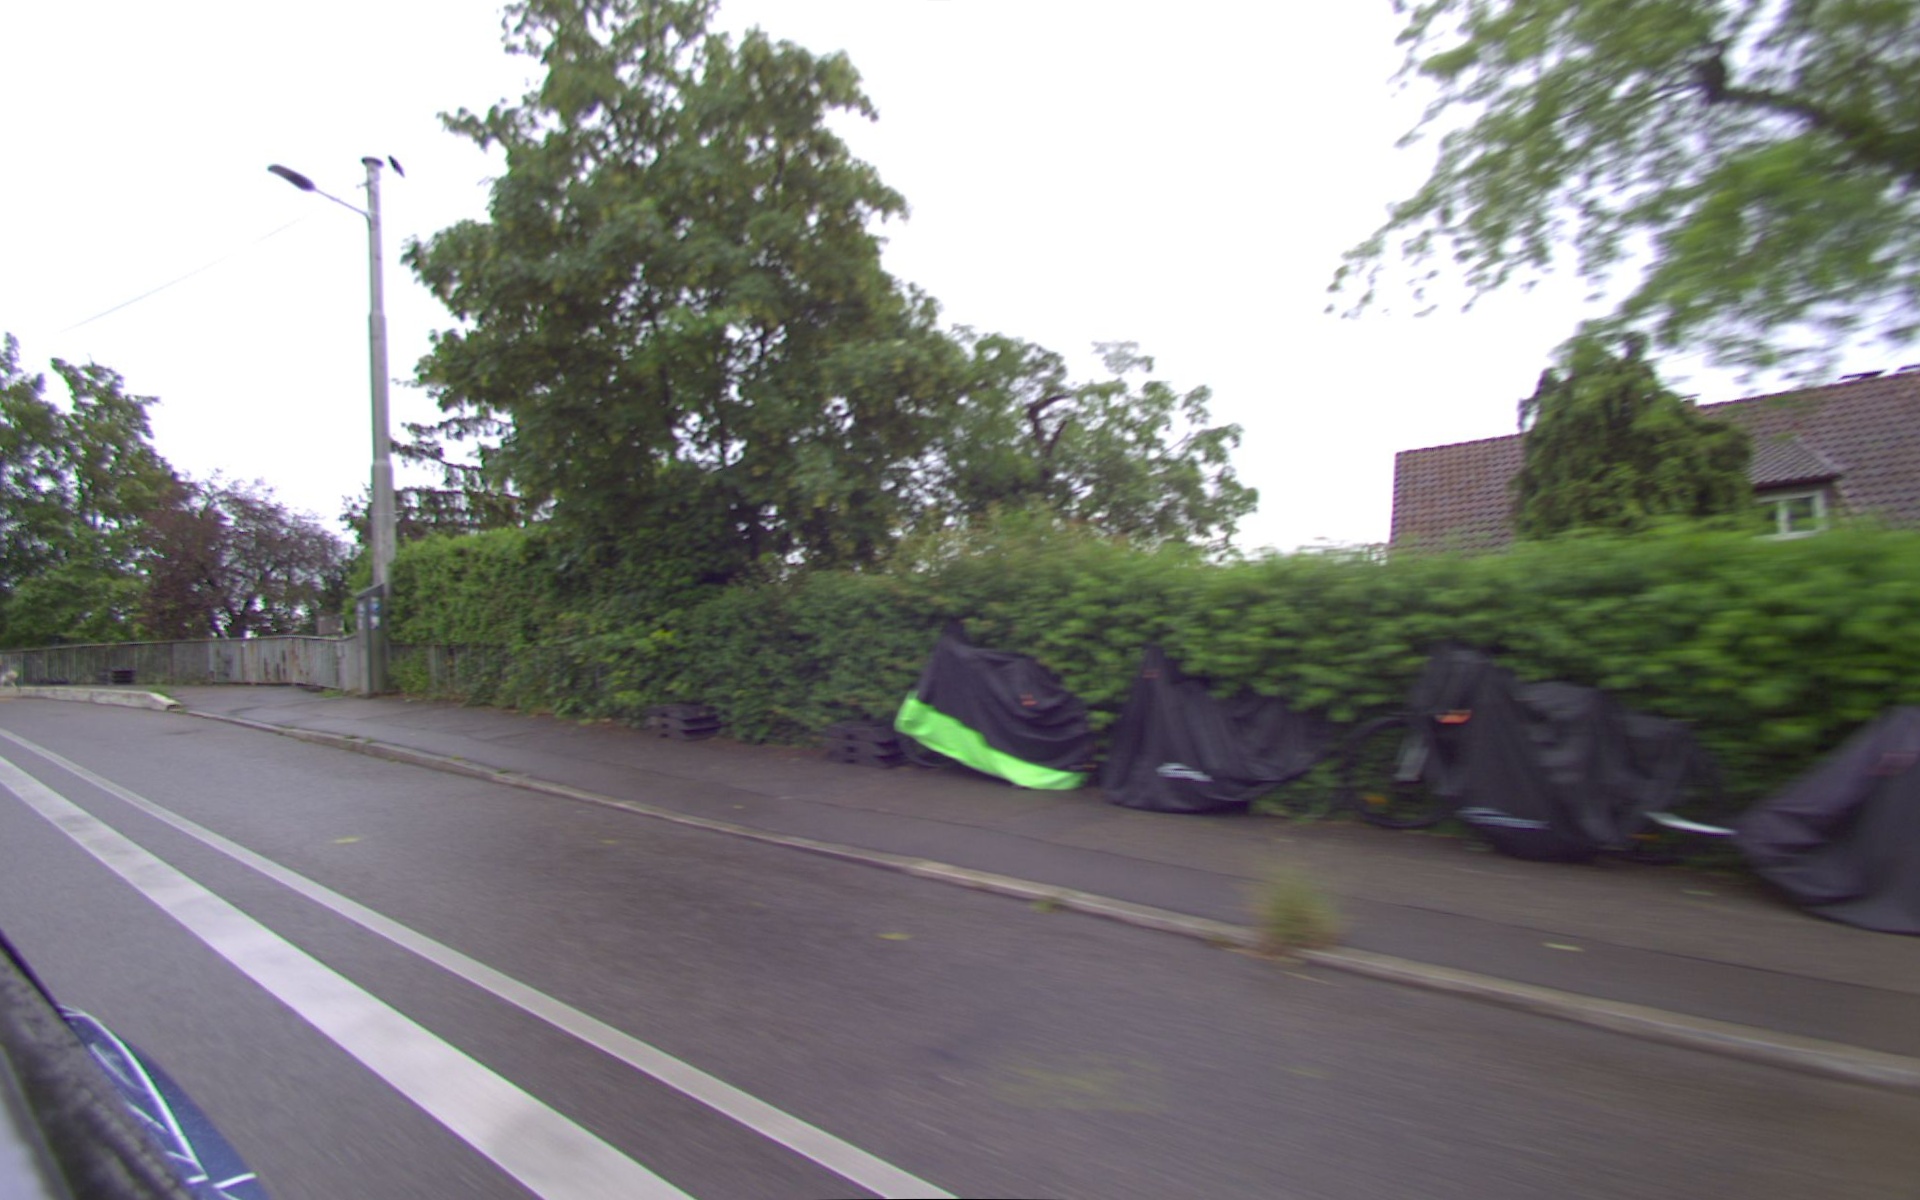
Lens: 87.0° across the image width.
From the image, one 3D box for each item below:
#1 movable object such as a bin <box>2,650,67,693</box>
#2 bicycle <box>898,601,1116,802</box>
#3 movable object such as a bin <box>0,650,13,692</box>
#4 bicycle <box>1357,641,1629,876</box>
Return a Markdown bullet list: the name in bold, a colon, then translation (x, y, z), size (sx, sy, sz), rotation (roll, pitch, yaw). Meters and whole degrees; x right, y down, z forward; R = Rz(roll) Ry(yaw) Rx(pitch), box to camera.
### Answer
- **movable object such as a bin**: translation (-25.650, 1.982, 28.064), size (1.020, 1.115, 0.982), rotation (-5, -4, 20)
- **bicycle**: translation (0.306, 0.694, 7.595), size (1.741, 1.359, 0.416), rotation (-1, 0, 41)
- **movable object such as a bin**: translation (-26.409, 1.937, 27.238), size (1.020, 1.115, 0.982), rotation (-3, -4, 21)
- **bicycle**: translation (2.852, 0.797, 5.487), size (1.255, 1.116, 0.334), rotation (-1, 0, 41)
